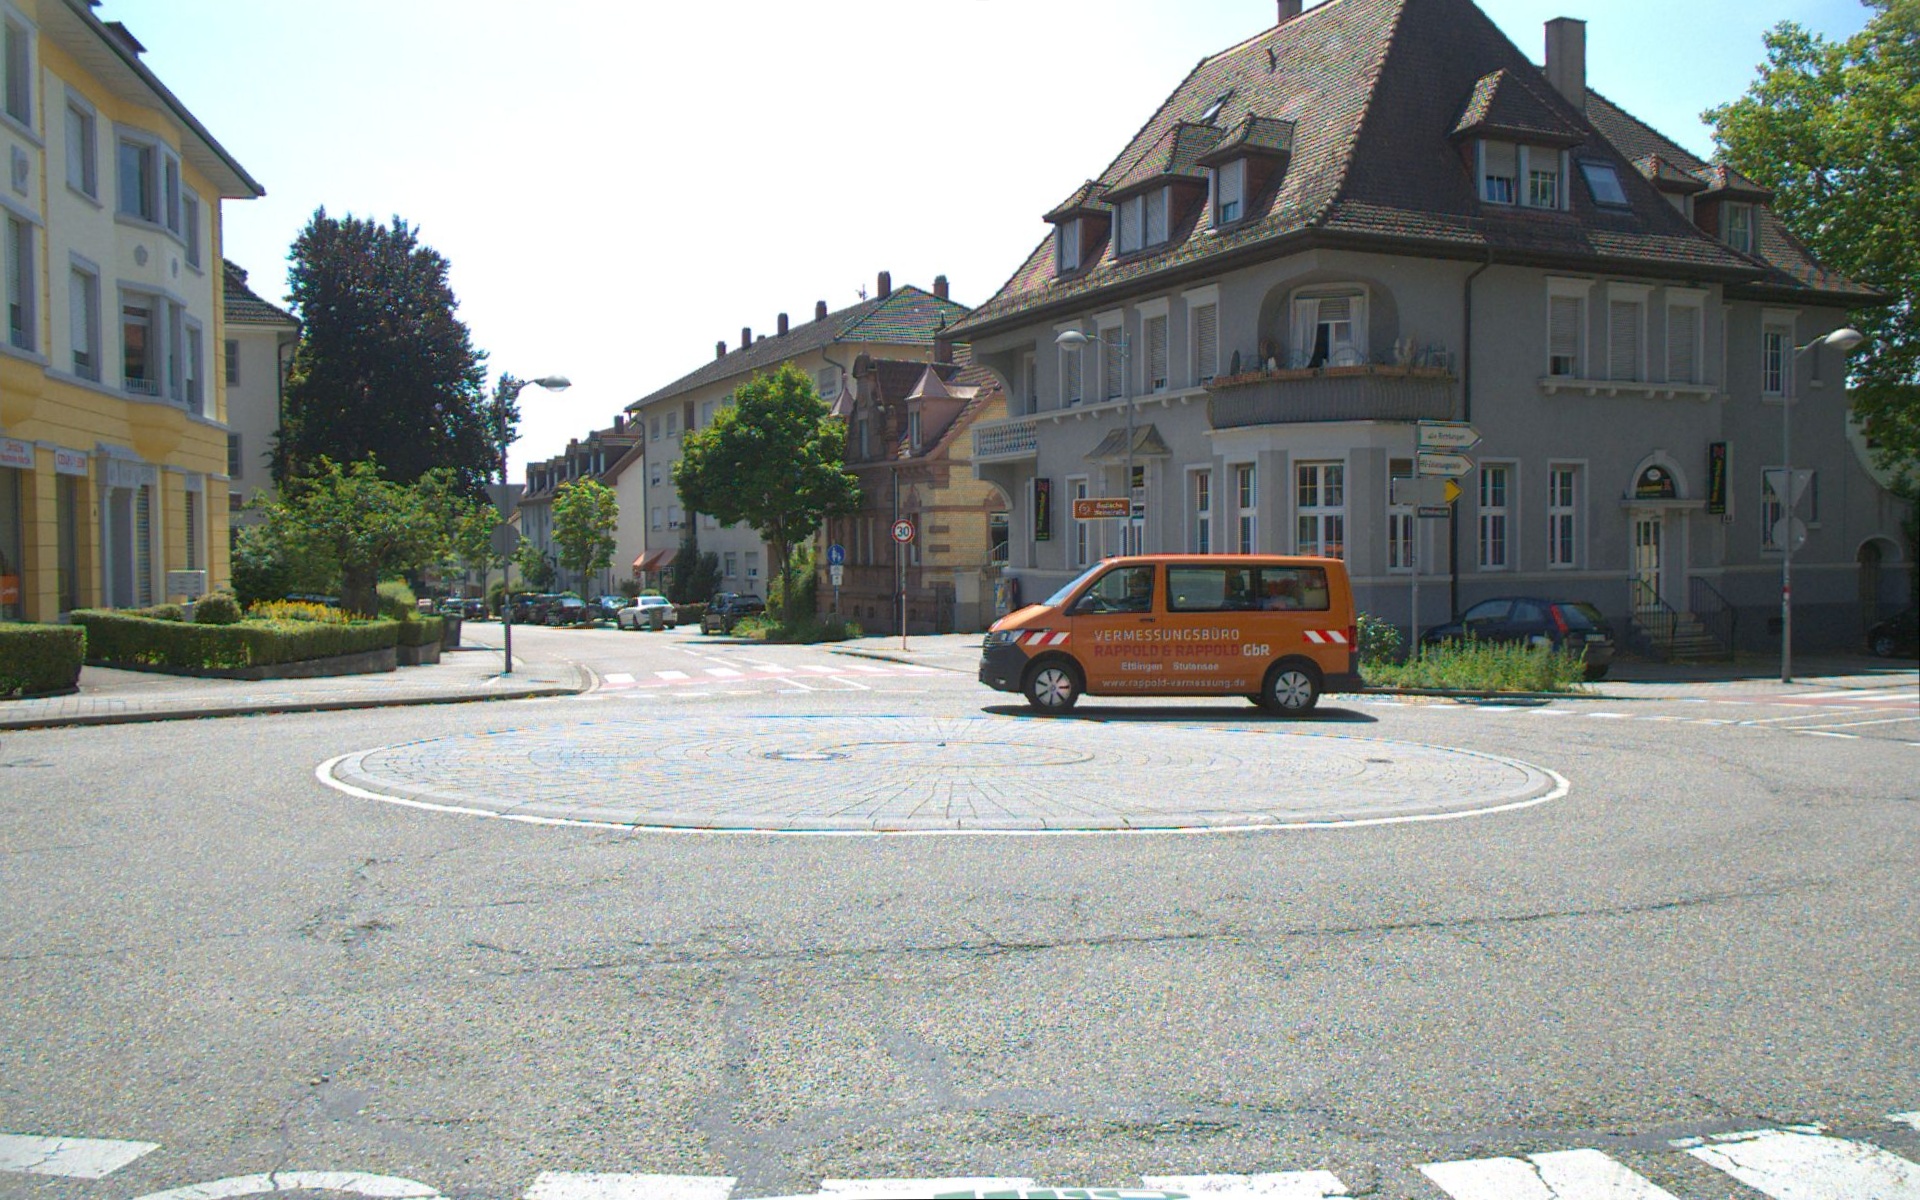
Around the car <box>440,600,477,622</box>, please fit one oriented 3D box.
[{"bbox_3d":[-37.217,0.789,122.636,1.969,1.535,4.381,0,0,-26],"label":"car"}]

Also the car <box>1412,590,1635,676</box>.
[{"bbox_3d":[10.327,0.565,30.550,1.700,1.486,3.754,0,0,-30],"label":"car"}]

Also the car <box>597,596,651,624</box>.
[{"bbox_3d":[-19.084,0.569,93.795,1.969,1.535,4.381,0,0,-26],"label":"car"}]

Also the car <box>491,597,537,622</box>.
[{"bbox_3d":[-27.871,0.593,103.346,1.969,1.535,4.381,0,0,-26],"label":"car"}]

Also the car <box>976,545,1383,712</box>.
[{"bbox_3d":[2.671,0.325,21.020,4.902,1.993,1.950,0,1,-1],"label":"car"}]

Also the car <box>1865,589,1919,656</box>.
[{"bbox_3d":[23.447,0.524,38.999,1.701,1.573,3.358,0,0,-30],"label":"car"}]

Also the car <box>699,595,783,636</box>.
[{"bbox_3d":[-8.611,0.564,64.648,1.969,1.535,4.381,0,0,-26],"label":"car"}]

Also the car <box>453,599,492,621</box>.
[{"bbox_3d":[-34.640,0.701,117.398,1.969,1.535,4.381,0,0,-26],"label":"car"}]

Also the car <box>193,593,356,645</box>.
[{"bbox_3d":[-20.947,0.550,50.595,4.363,1.535,1.977,0,0,-33],"label":"car"}]

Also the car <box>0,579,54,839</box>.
[{"bbox_3d":[-7.496,0.673,9.207,3.959,1.472,1.718,-1,2,5],"label":"car"}]

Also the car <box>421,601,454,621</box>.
[{"bbox_3d":[-41.967,0.865,132.718,1.969,1.514,3.967,1,0,-26],"label":"car"}]

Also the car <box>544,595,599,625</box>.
[{"bbox_3d":[-20.909,0.516,88.880,1.969,1.535,4.381,0,0,-26],"label":"car"}]

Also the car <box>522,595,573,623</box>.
[{"bbox_3d":[-23.524,0.489,94.275,1.969,1.535,4.381,0,0,-26],"label":"car"}]

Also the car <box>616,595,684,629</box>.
[{"bbox_3d":[-14.172,0.523,75.436,1.969,1.535,4.381,0,0,-26],"label":"car"}]

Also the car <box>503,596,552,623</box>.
[{"bbox_3d":[-25.926,0.541,99.058,1.969,1.535,4.381,0,0,-26],"label":"car"}]
